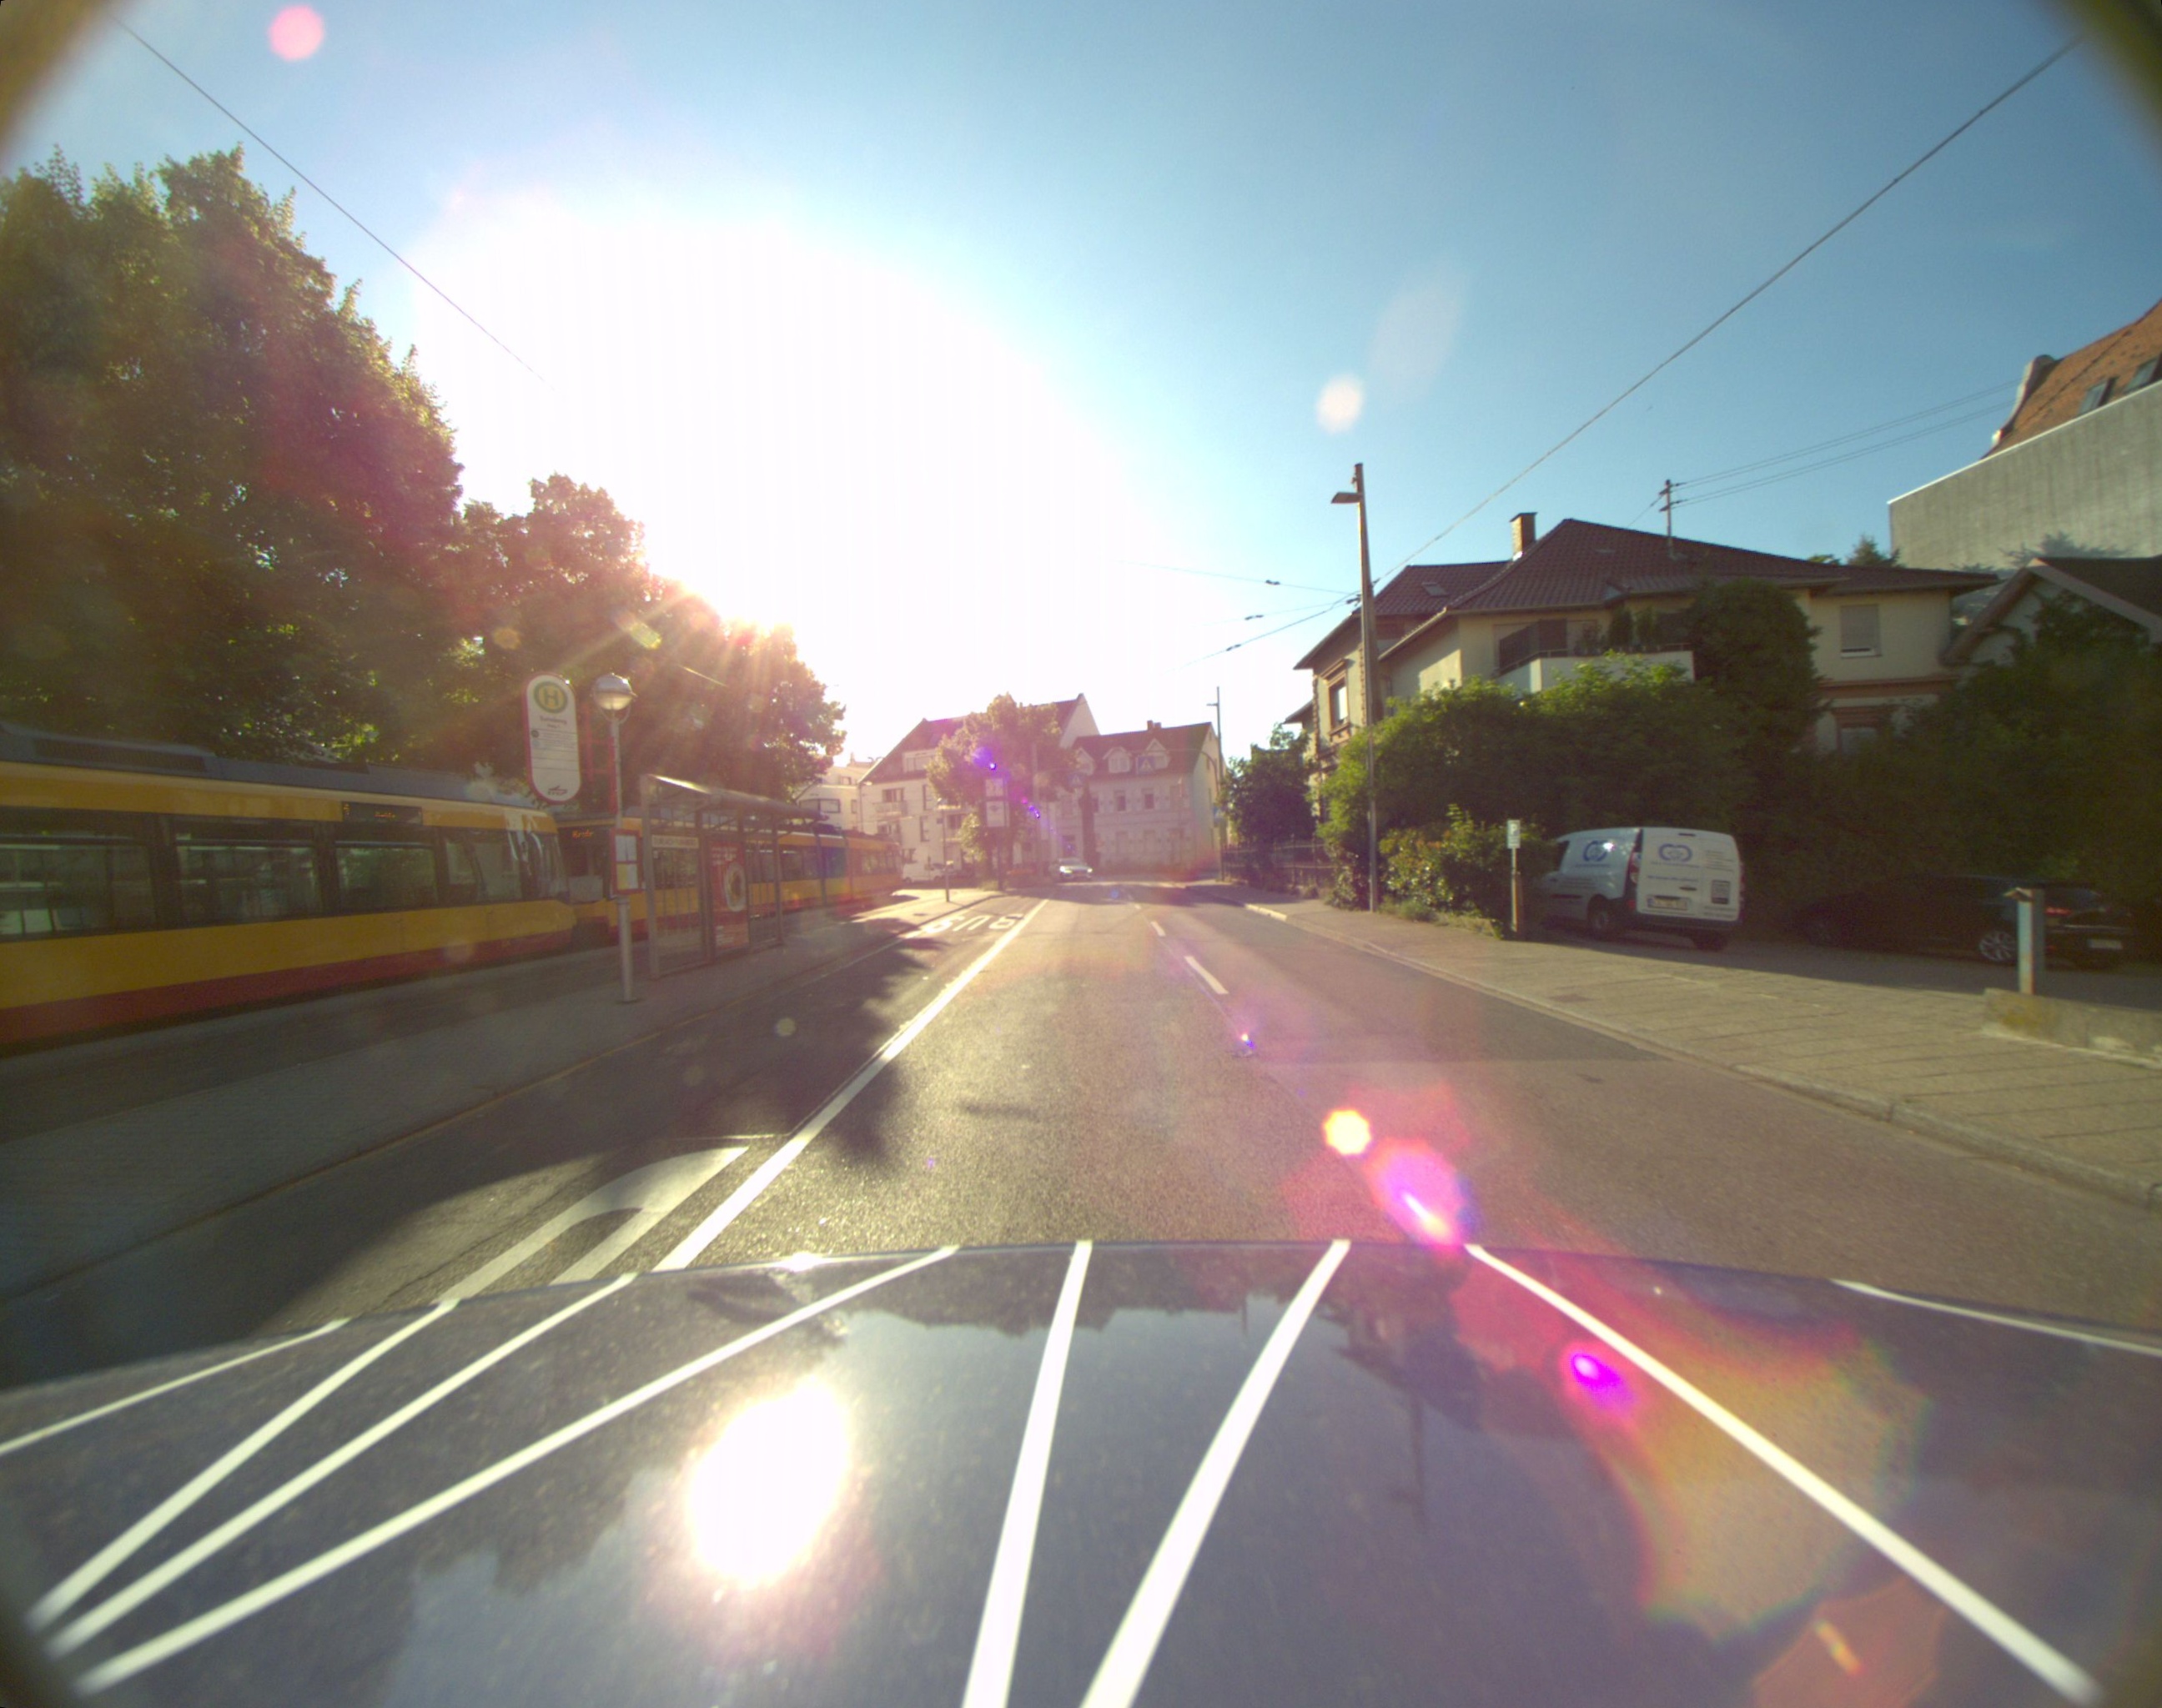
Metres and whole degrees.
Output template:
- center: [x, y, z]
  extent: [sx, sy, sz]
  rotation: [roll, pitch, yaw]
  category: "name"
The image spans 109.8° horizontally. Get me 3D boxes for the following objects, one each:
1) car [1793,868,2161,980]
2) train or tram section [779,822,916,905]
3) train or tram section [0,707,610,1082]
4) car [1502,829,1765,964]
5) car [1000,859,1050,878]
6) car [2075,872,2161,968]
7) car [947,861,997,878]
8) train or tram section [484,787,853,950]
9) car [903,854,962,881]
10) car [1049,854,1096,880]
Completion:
- center: [14.733, 1.044, 12.766]
  extent: [1.846, 1.508, 3.791]
  rotation: [1, 0, -4]
  category: "car"
- center: [-11.307, 0.450, 38.797]
  extent: [2.965, 3.401, 13.463]
  rotation: [-2, 0, -1]
  category: "train or tram section"
- center: [-11.564, 0.387, 9.225]
  extent: [2.964, 3.514, 13.462]
  rotation: [-2, 1, 1]
  category: "train or tram section"
- center: [8.870, 0.592, 12.651]
  extent: [1.705, 1.804, 3.672]
  rotation: [4, 0, 3]
  category: "car"
- center: [-5.037, 1.300, 67.831]
  extent: [4.196, 1.453, 1.610]
  rotation: [-5, 0, 32]
  category: "car"
- center: [19.731, 1.199, 12.493]
  extent: [1.844, 1.658, 3.794]
  rotation: [2, 0, 4]
  category: "car"
- center: [-10.073, 1.460, 70.287]
  extent: [4.116, 1.339, 1.939]
  rotation: [-3, 0, 28]
  category: "car"
- center: [-11.211, 0.356, 24.213]
  extent: [2.965, 3.401, 15.940]
  rotation: [-2, 0, 0]
  category: "train or tram section"
- center: [-12.860, 1.173, 65.913]
  extent: [4.781, 1.921, 1.875]
  rotation: [-5, 0, 28]
  category: "car"
- center: [-0.590, 0.813, 47.231]
  extent: [2.000, 1.453, 4.445]
  rotation: [-3, 0, -12]
  category: "car"
